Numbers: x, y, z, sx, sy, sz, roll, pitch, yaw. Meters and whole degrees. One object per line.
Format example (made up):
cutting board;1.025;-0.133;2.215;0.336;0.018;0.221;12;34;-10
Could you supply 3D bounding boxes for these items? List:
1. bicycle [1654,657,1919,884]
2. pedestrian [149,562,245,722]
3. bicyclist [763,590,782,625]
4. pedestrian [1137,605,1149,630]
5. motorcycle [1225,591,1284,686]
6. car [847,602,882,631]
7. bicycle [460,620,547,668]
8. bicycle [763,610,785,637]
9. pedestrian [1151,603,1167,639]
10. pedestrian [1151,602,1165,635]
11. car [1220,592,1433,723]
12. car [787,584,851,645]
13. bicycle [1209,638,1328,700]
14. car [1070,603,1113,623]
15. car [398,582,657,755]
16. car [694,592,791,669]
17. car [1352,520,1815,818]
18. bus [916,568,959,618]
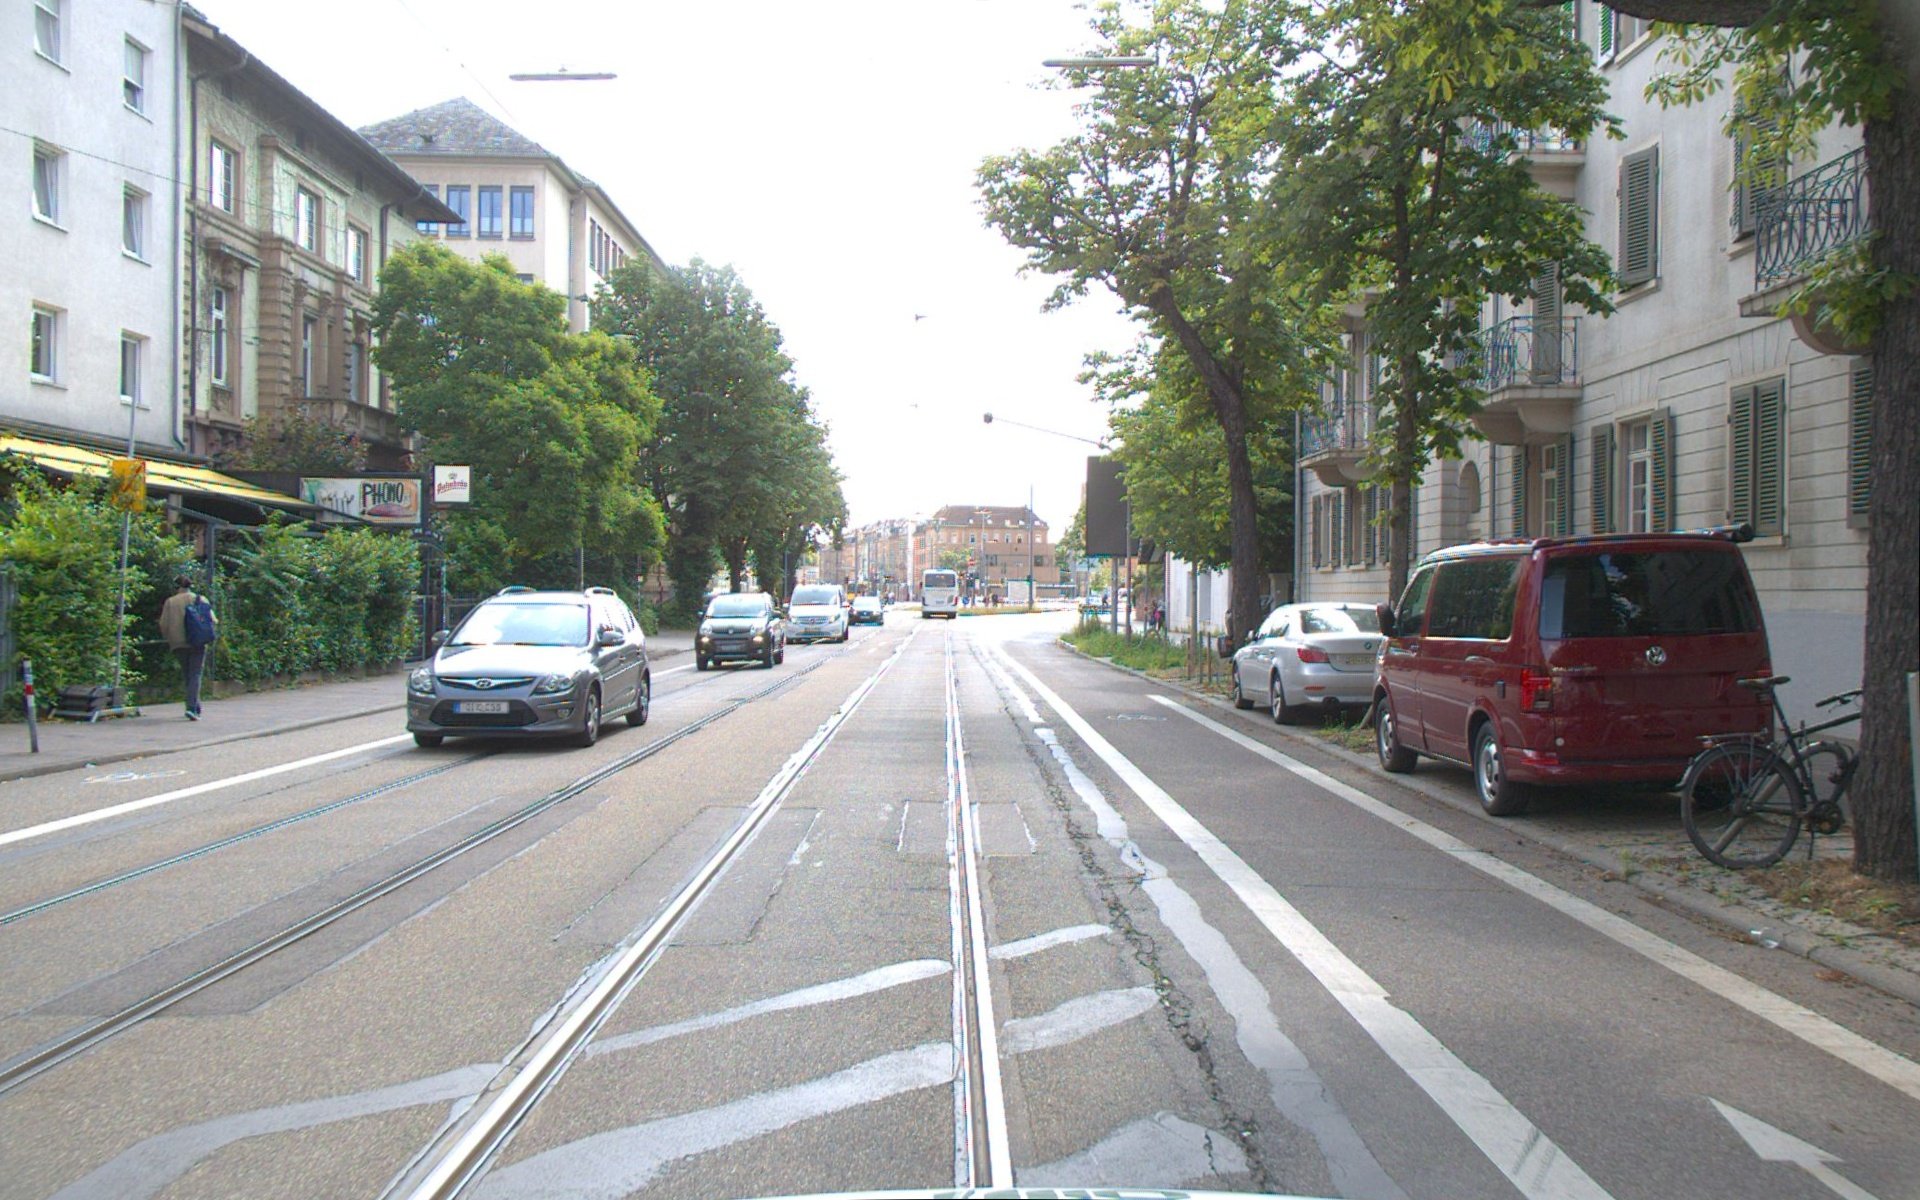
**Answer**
bicycle;4.863;0.952;9.427;1.578;1.224;0.589;1;0;-4
pedestrian;-9.555;0.521;20.754;1.045;1.951;0.823;1;0;-24
bicyclist;-8.465;0.333;74.709;0.587;1.518;0.882;-5;0;2
pedestrian;9.105;0.872;82.471;0.417;1.221;0.401;-2;1;-33
motorcycle;5.107;0.639;28.641;0.959;1.569;2.442;0;0;11
car;-4.875;0.837;84.972;1.654;1.426;3.929;0;0;-1
bicycle;-10.306;0.977;37.461;1.119;0.924;2.988;4;0;-1
bicycle;-8.401;1.064;74.736;0.590;1.116;2.023;-5;0;2
pedestrian;9.807;1.039;81.641;0.670;1.754;0.747;-1;1;1
pedestrian;9.956;0.931;83.258;0.510;1.608;0.547;-1;1;-10
car;4.639;0.674;21.640;1.672;1.524;4.788;0;0;-1
car;-4.716;0.476;55.782;1.859;1.941;5.382;0;0;-2
bicycle;4.760;1.058;25.608;1.739;0.918;0.692;0;0;2
car;11.996;1.167;150.654;2.093;1.713;4.089;2;1;34
car;-4.363;0.633;17.331;1.692;1.567;4.275;0;0;-2
car;-4.672;0.625;35.925;1.598;1.584;3.821;0;0;0
car;4.735;0.461;13.469;1.857;1.975;4.949;0;0;-1
bus;-1.694;-0.409;120.599;2.859;3.386;12.202;1;-1;-1
